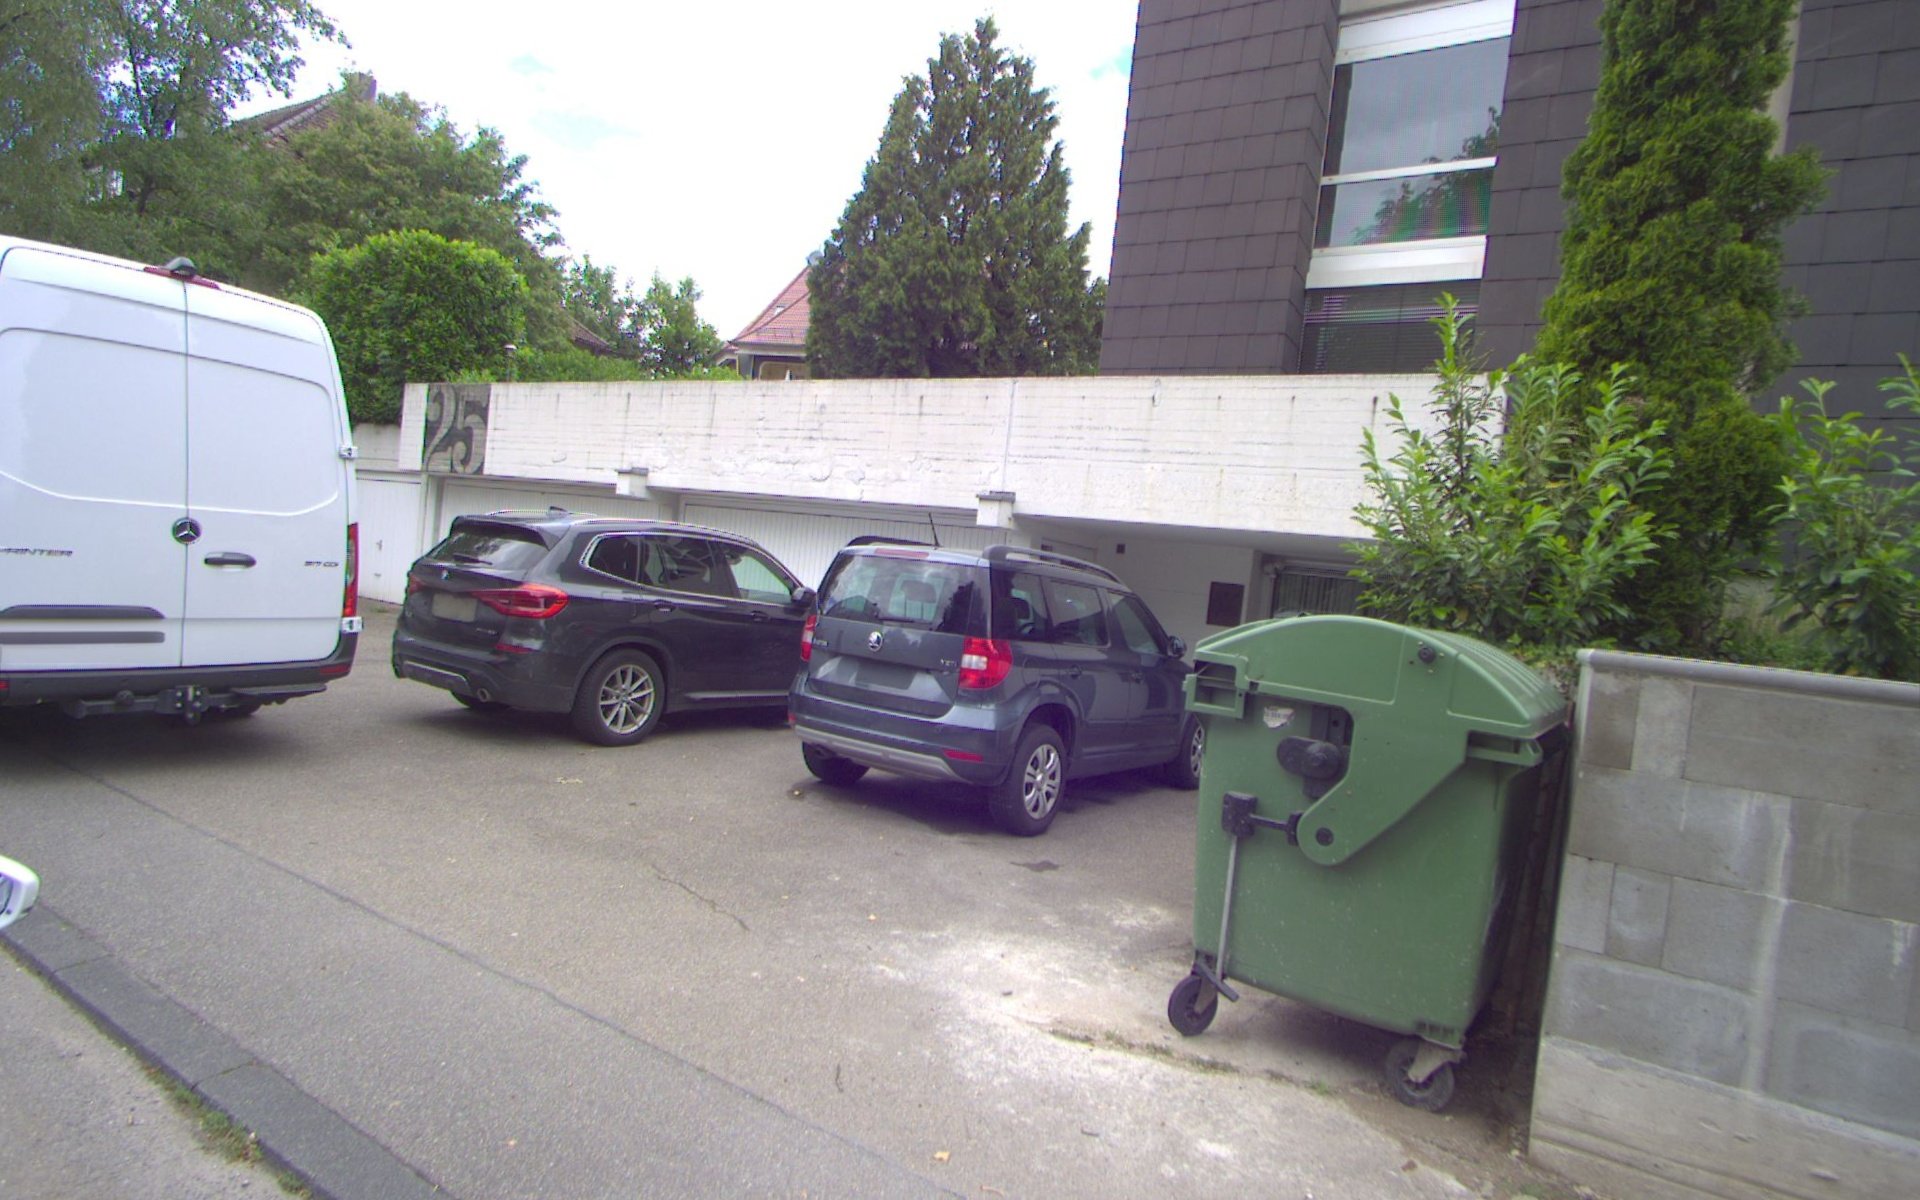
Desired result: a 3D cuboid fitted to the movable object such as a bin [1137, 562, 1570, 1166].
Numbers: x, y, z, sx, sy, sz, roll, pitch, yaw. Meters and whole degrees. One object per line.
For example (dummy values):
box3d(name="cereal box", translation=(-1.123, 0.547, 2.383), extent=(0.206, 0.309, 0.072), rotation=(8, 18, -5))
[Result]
box3d(name="movable object such as a bin", translation=(1.356, 0.729, 3.394), extent=(1.016, 1.550, 1.034), rotation=(7, 1, 33))

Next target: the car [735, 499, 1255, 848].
box3d(name="car", translation=(0.537, 0.454, 7.400), extent=(1.804, 1.772, 3.973), rotation=(7, 1, 35))

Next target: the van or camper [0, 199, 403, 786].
box3d(name="van or camper", translation=(-6.702, -0.734, 6.903), extent=(6.432, 2.653, 1.995), rotation=(7, 1, 32))

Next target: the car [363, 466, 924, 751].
box3d(name="car", translation=(-2.358, 0.124, 8.681), extent=(1.710, 1.772, 4.419), rotation=(7, 1, 33))
